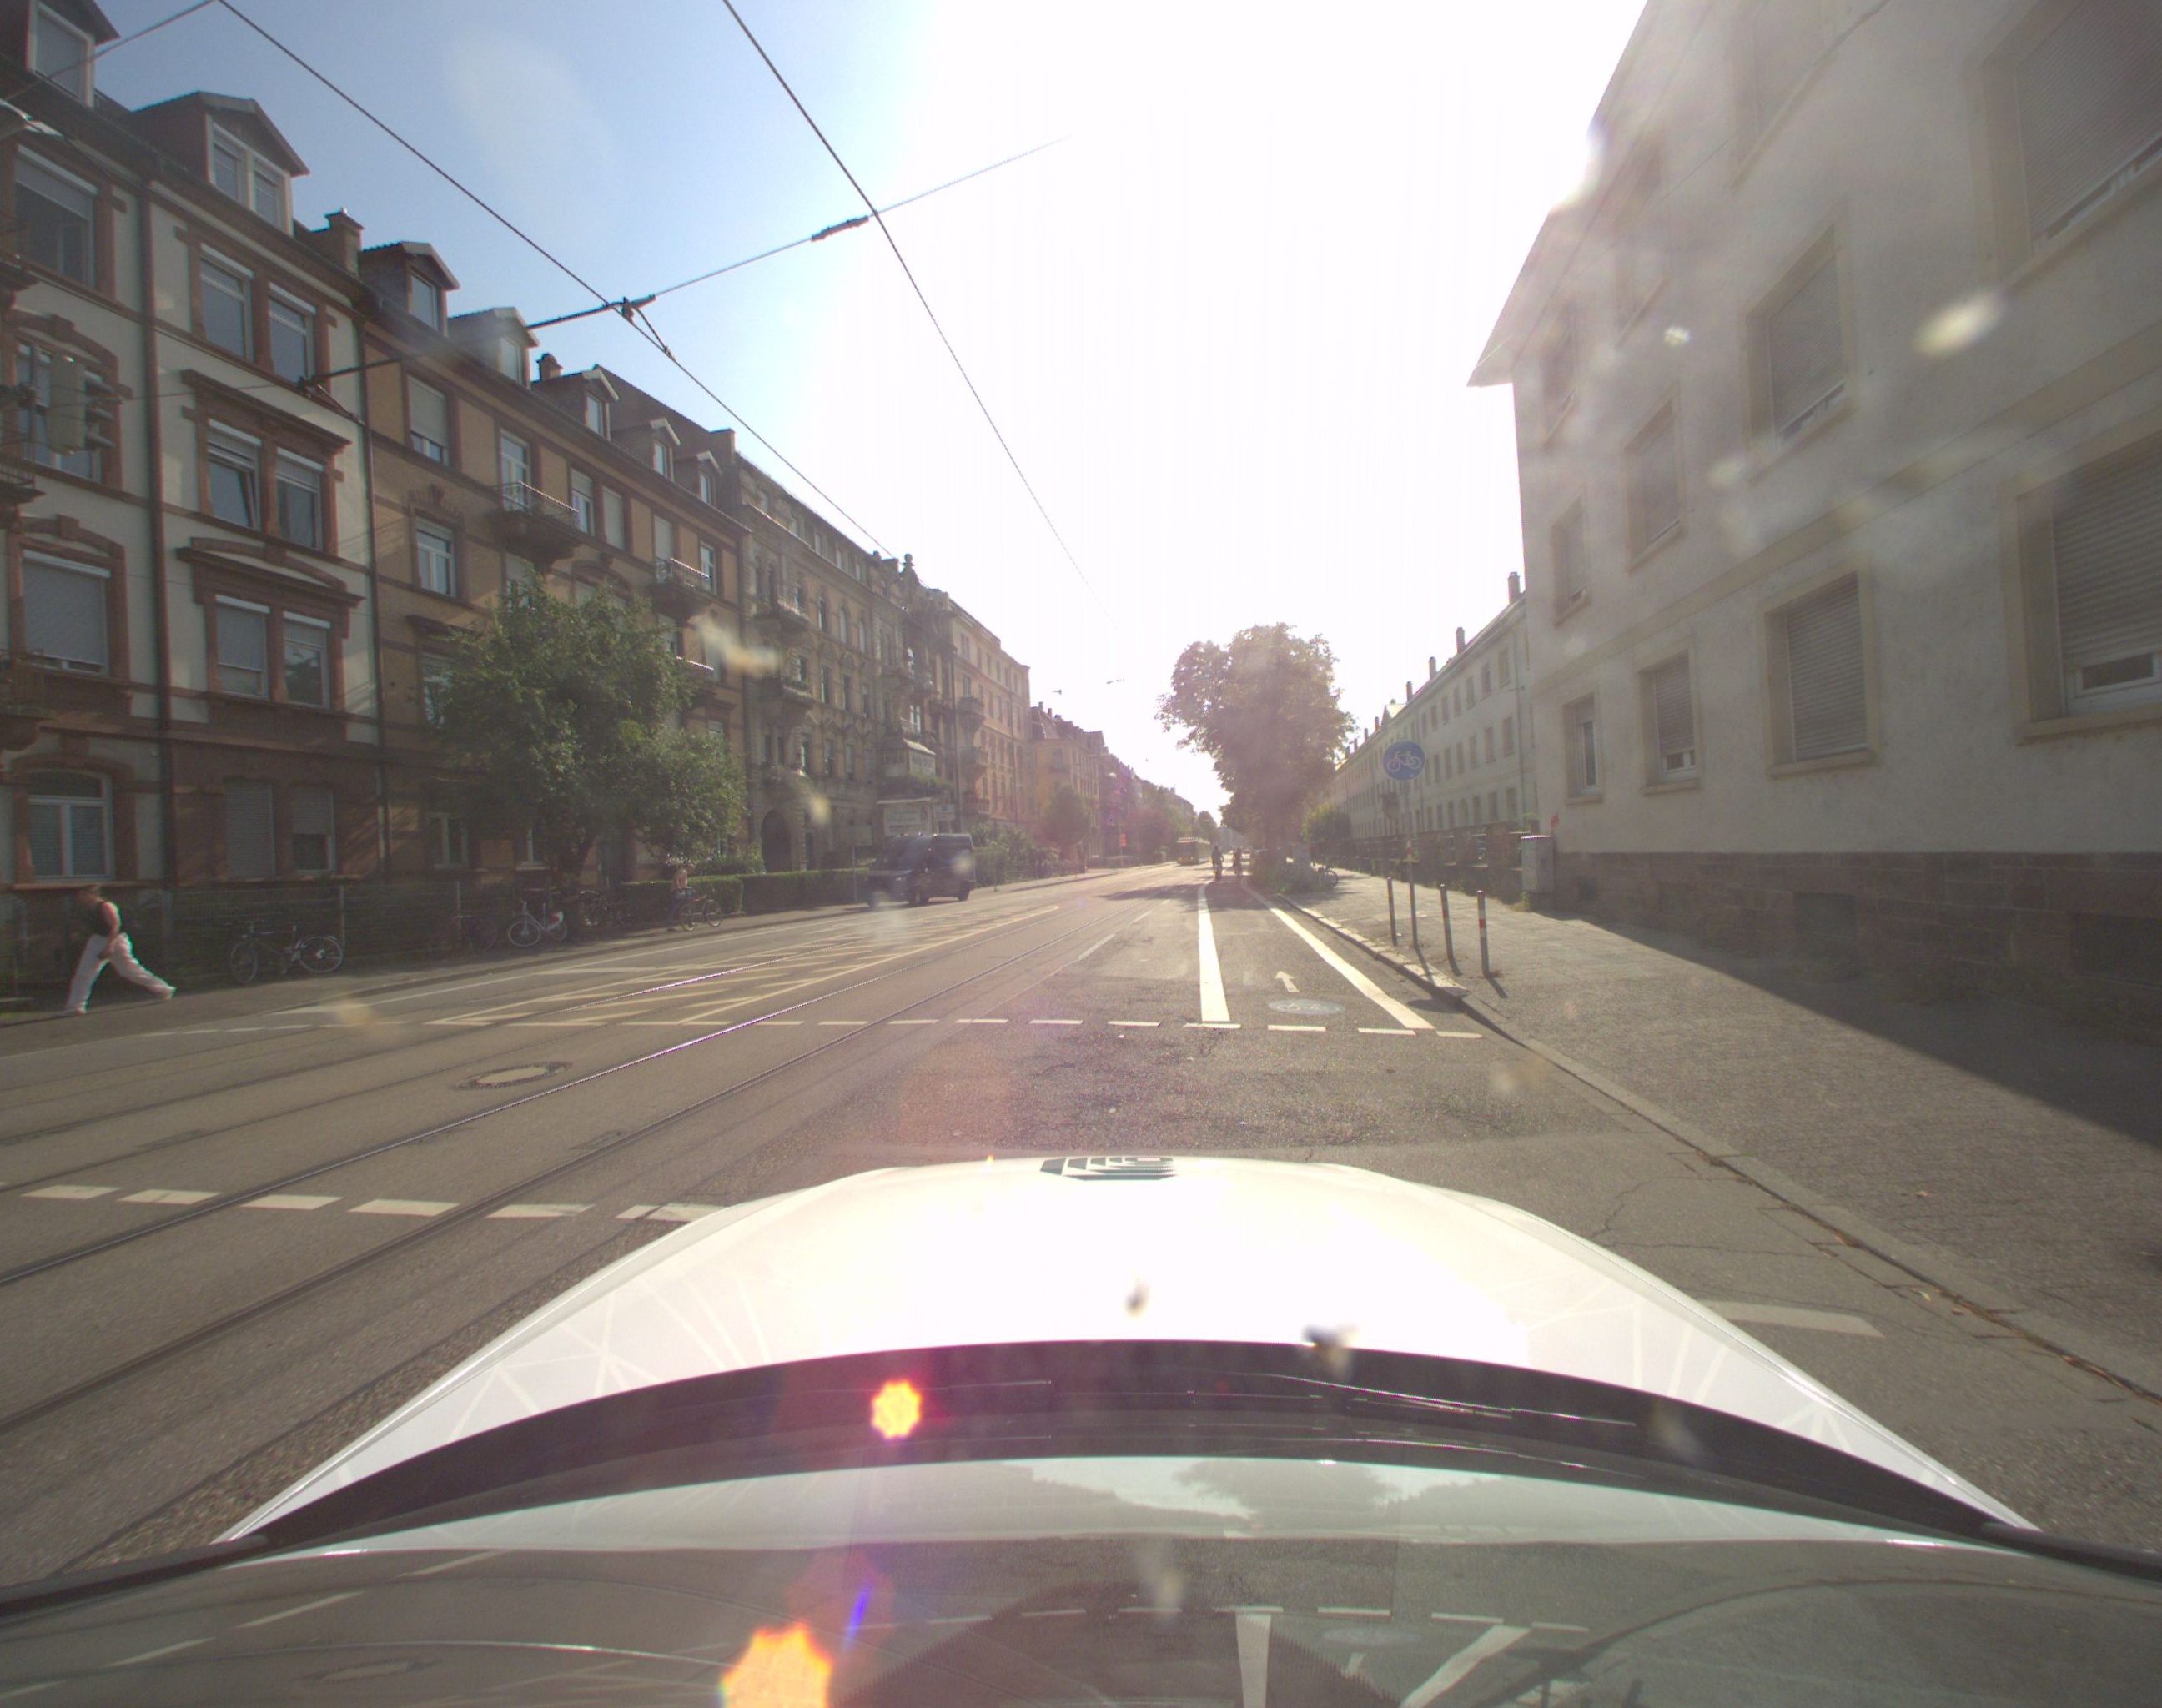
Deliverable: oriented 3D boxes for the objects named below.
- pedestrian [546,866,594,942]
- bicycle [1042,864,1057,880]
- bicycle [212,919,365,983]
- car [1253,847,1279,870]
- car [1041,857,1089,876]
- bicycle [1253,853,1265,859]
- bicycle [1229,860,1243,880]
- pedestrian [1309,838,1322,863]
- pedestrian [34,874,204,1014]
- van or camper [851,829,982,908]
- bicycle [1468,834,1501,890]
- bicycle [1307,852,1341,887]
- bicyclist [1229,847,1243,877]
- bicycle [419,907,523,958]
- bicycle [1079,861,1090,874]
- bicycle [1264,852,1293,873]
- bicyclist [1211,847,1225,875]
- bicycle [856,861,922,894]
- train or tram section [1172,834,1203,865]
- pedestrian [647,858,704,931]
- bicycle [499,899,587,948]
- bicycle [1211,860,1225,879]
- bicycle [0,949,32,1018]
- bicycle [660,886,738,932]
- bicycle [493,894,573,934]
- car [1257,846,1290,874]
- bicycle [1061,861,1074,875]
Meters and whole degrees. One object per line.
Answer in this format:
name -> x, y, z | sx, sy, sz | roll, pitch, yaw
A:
pedestrian -> -11.799, 1.140, 18.821 | 0.635, 1.678, 0.633 | -3, 0, 0
bicycle -> -2.278, 1.286, 59.027 | 0.602, 1.058, 1.846 | 1, 0, 13
bicycle -> -13.427, 1.621, 13.872 | 0.522, 0.860, 1.835 | -3, 0, 15
car -> 13.338, 0.322, 58.891 | 1.634, 1.448, 4.260 | -5, -1, 12
car -> -1.453, 1.171, 75.650 | 4.111, 1.543, 2.070 | -2, -1, 10
bicycle -> 32.522, 0.346, 148.896 | 2.097, 1.105, 0.563 | -3, -1, 4
bicycle -> 7.699, 0.782, 40.442 | 0.650, 0.909, 1.780 | -1, 0, 11
pedestrian -> 16.701, -0.225, 57.995 | 0.746, 1.749, 0.882 | -3, 0, 18
pedestrian -> -13.190, 1.197, 11.204 | 0.898, 1.766, 1.190 | -3, 0, 15
van or camper -> -6.124, 0.505, 31.356 | 2.034, 2.644, 6.118 | -4, -1, 18
bicycle -> 11.094, 0.206, 22.436 | 0.450, 1.455, 1.747 | -2, 0, 16
bicycle -> 8.204, 0.490, 27.596 | 0.767, 1.104, 2.339 | -3, 0, 9
bicyclist -> 7.697, 0.378, 40.429 | 0.650, 1.474, 0.911 | -1, 0, 11
bicycle -> -12.427, 1.577, 16.651 | 0.522, 0.860, 1.709 | -3, 0, 15
bicycle -> 0.321, 1.177, 71.767 | 0.541, 1.058, 1.846 | 1, 0, 13
bicycle -> 10.868, 0.465, 44.805 | 1.736, 1.073, 0.519 | -2, -1, -37
bicyclist -> 6.857, 0.338, 40.795 | 0.622, 1.401, 0.932 | -1, 0, 11
bicycle -> -9.152, 1.124, 38.919 | 2.861, 1.455, 0.999 | -2, 0, 5
train or tram section -> 13.645, -0.582, 103.285 | 2.717, 3.505, 15.481 | -2, 0, 11
pedestrian -> -10.444, 1.015, 20.995 | 0.723, 1.806, 1.096 | -3, 0, 10
bicycle -> -12.056, 1.532, 18.310 | 0.522, 0.927, 1.709 | -3, 0, 15
bicycle -> 6.871, 0.790, 40.781 | 0.622, 0.909, 1.529 | -1, 0, 11
bicycle -> -14.942, 1.756, 10.378 | 1.838, 0.860, 0.522 | -3, 0, -40
bicycle -> -9.843, 1.405, 21.074 | 0.614, 1.007, 2.157 | -3, 0, 11
bicycle -> -13.141, 1.437, 19.549 | 1.685, 0.860, 0.530 | -3, 0, 11
car -> 12.092, 0.350, 51.100 | 1.632, 1.540, 3.859 | -5, -1, 17
bicycle -> -1.089, 1.104, 64.861 | 0.541, 1.058, 1.846 | 1, 0, 13
